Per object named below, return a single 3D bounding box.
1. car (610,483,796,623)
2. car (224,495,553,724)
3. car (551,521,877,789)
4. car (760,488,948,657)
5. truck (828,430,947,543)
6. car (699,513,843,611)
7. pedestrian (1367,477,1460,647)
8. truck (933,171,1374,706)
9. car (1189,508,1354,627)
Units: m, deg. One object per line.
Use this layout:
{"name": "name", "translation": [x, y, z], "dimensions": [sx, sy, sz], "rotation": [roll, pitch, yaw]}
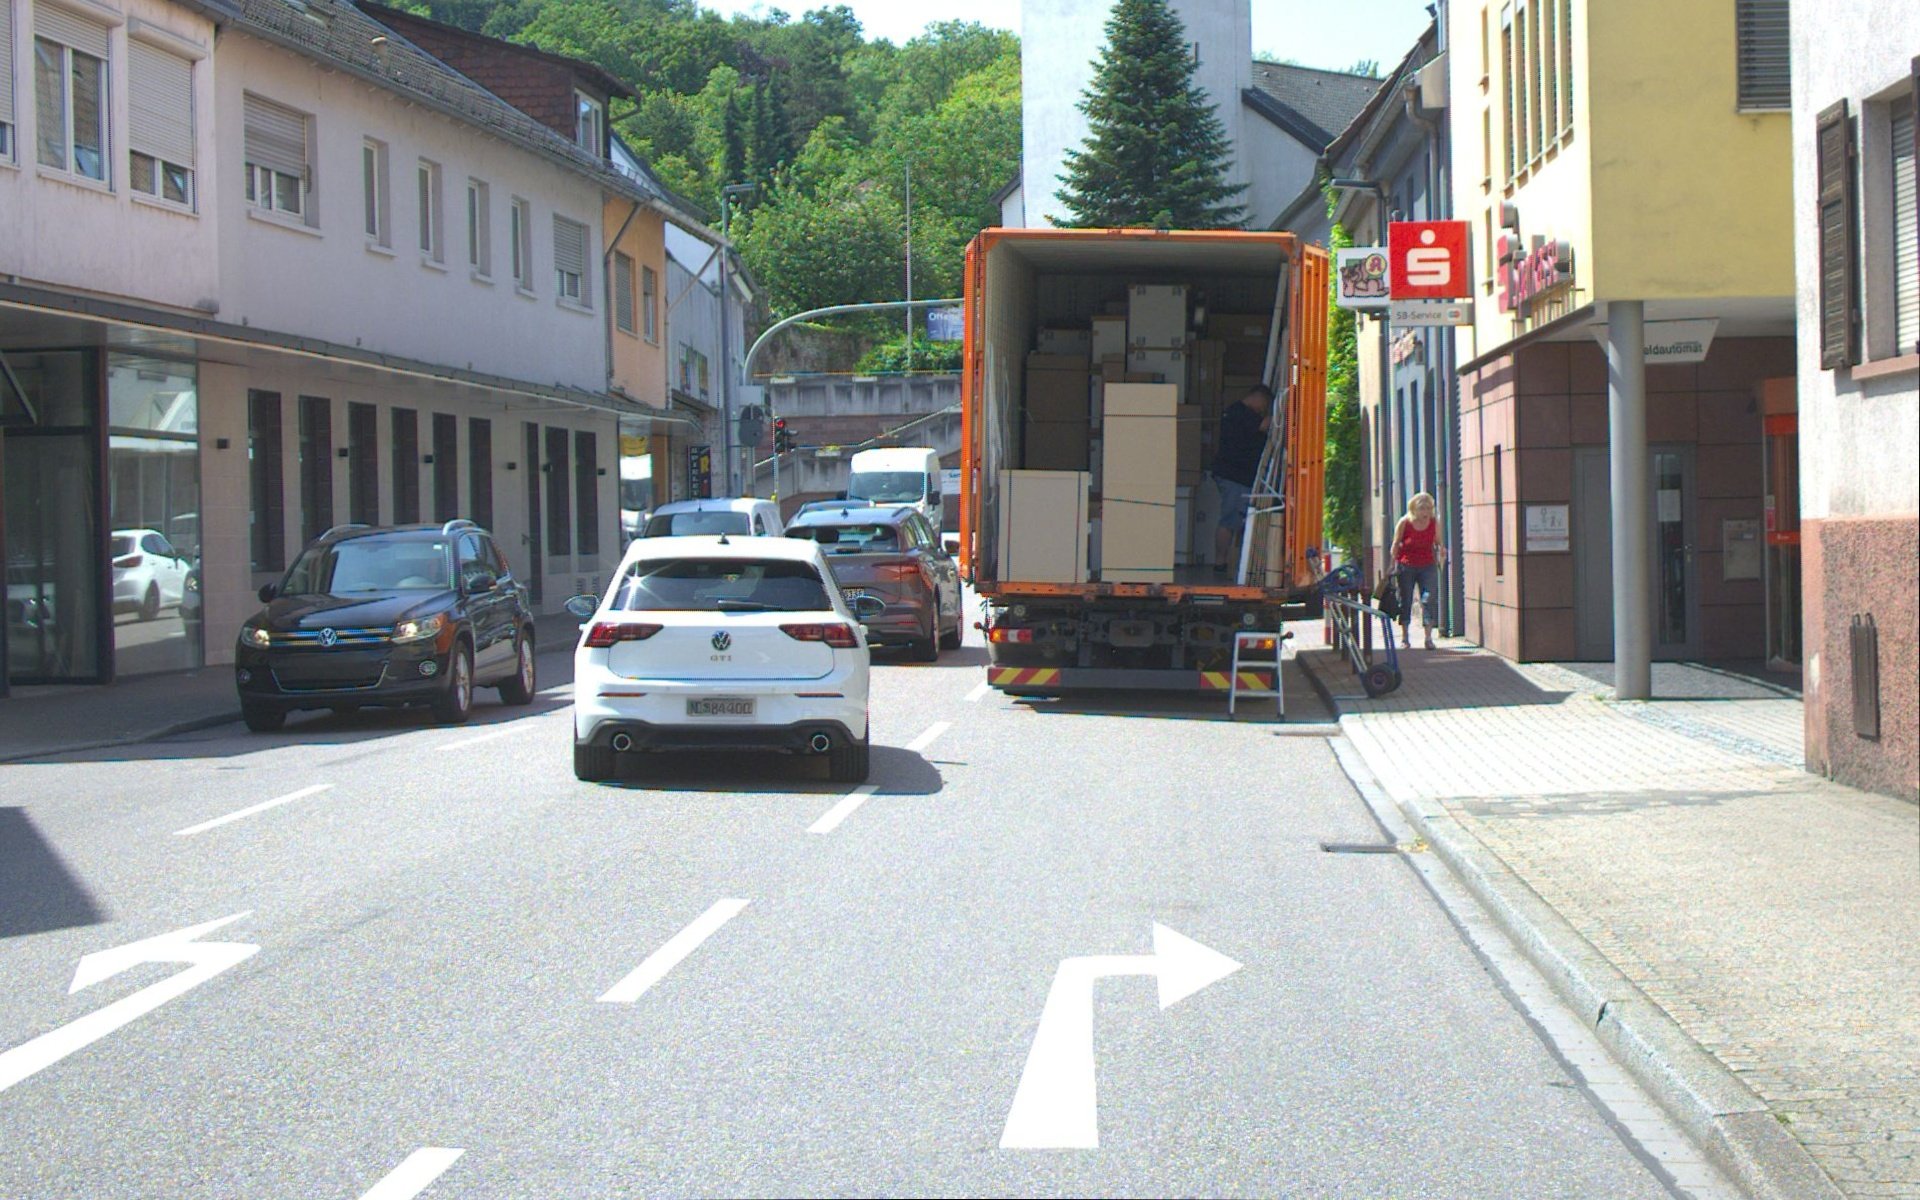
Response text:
{"name": "car", "translation": [-3.509, -0.697, 47.832], "dimensions": [1.802, 1.773, 4.704], "rotation": [-2, 2, 5]}
{"name": "car", "translation": [-4.732, 0.016, 29.047], "dimensions": [1.691, 1.693, 4.112], "rotation": [-2, 2, 5]}
{"name": "car", "translation": [-1.441, 0.293, 21.493], "dimensions": [1.815, 1.514, 4.000], "rotation": [0, 1, -1]}
{"name": "car", "translation": [-1.097, -0.291, 36.482], "dimensions": [1.815, 1.623, 4.000], "rotation": [-2, 1, -1]}
{"name": "truck", "translation": [-1.663, -2.642, 81.468], "dimensions": [2.118, 2.466, 5.735], "rotation": [-2, 1, 5]}
{"name": "car", "translation": [-3.391, -0.693, 62.375], "dimensions": [1.994, 1.645, 3.999], "rotation": [-2, 1, 5]}
{"name": "pedestrian", "translation": [4.774, -0.397, 36.238], "dimensions": [0.769, 1.736, 0.871], "rotation": [-2, 0, -2]}
{"name": "truck", "translation": [1.661, -1.344, 32.342], "dimensions": [3.367, 4.155, 9.519], "rotation": [-2, 1, 1]}
{"name": "car", "translation": [4.297, -0.455, 47.897], "dimensions": [1.815, 1.514, 4.000], "rotation": [-2, 1, -1]}
